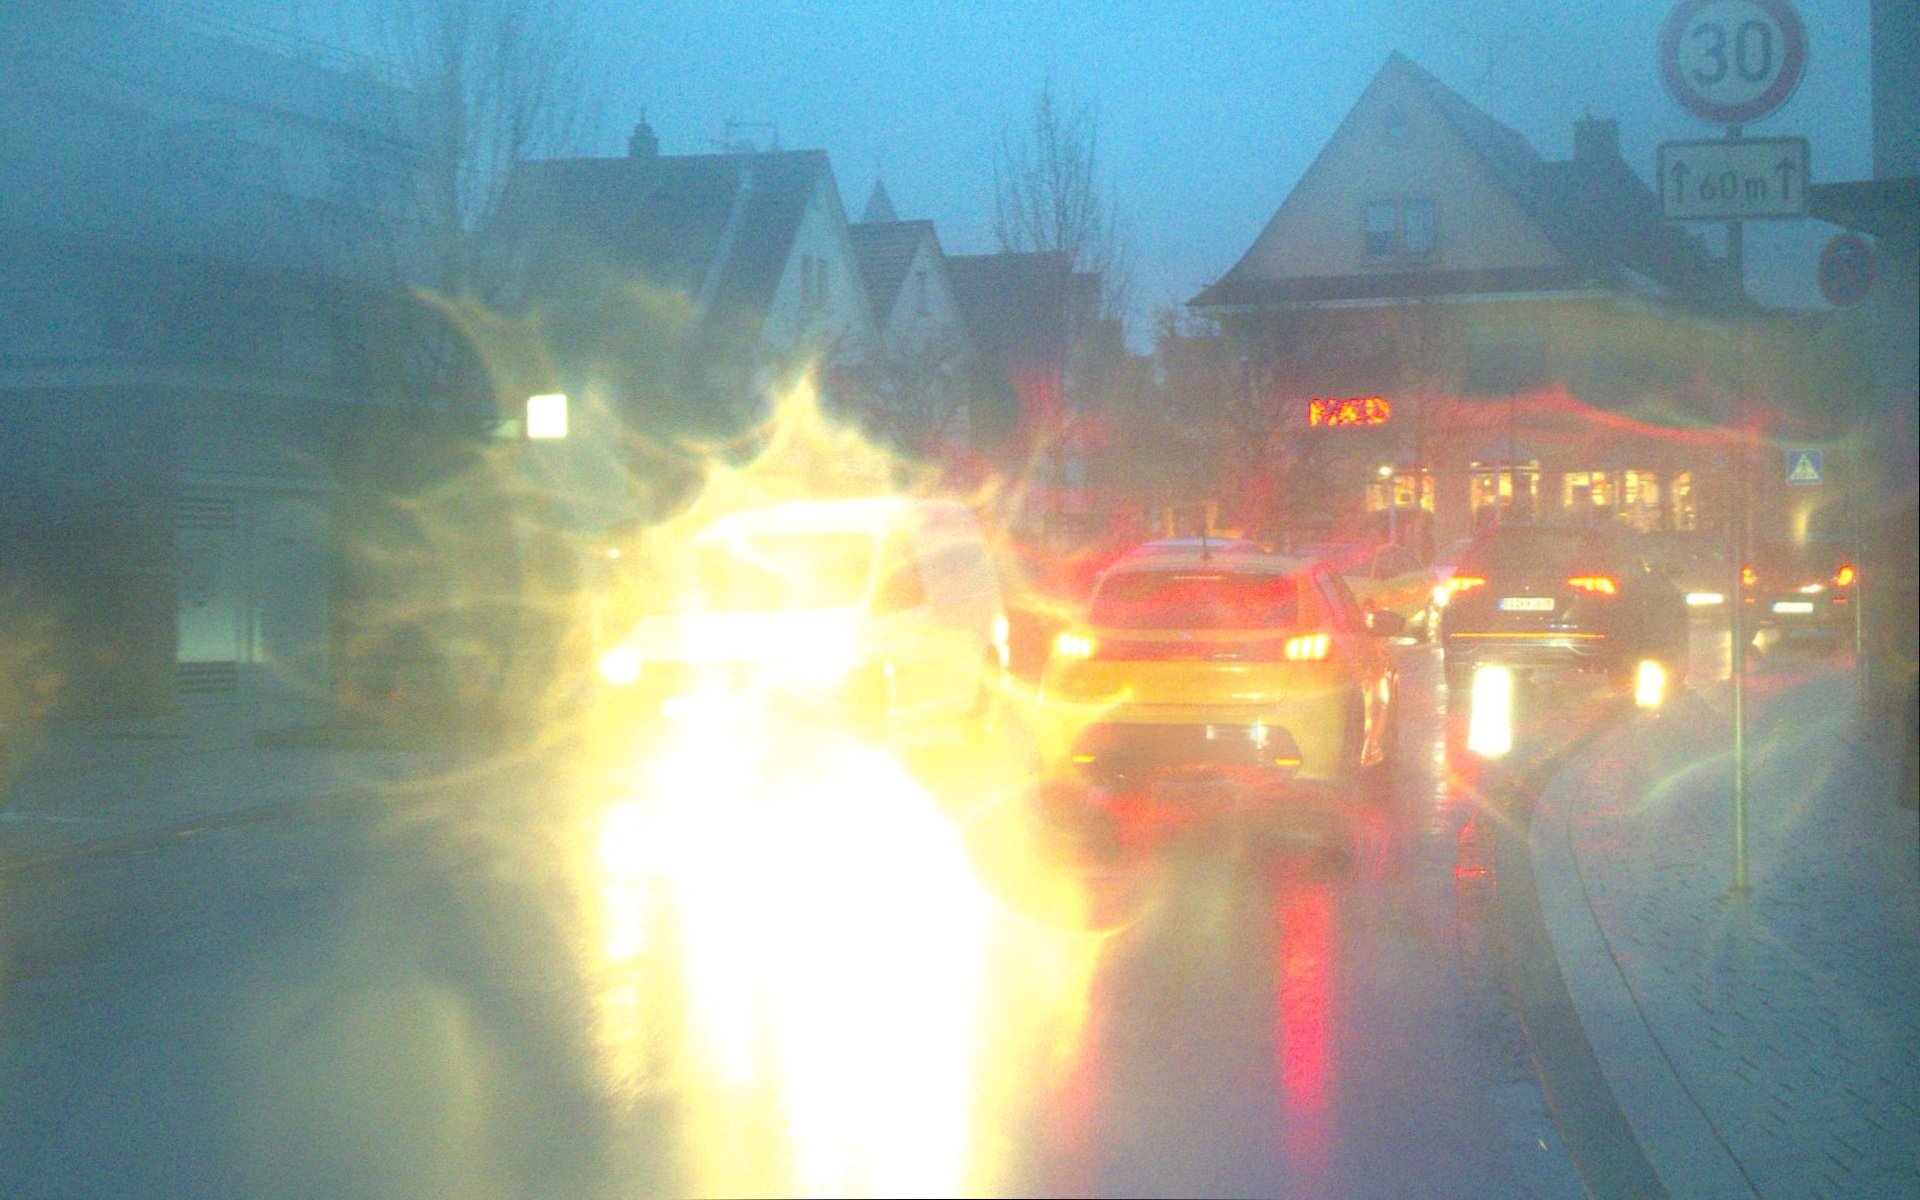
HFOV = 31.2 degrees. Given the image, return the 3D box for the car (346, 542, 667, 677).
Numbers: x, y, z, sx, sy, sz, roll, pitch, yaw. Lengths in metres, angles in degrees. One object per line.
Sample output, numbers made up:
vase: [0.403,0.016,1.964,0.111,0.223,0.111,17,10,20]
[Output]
car: [-5.427,0.131,40.810,1.735,1.472,4.087,-3,1,-41]

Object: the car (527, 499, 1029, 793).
car: [-1.103,0.232,23.706,1.947,1.744,4.848,-3,1,15]

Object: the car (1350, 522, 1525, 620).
car: [7.811,-0.498,55.990,1.672,1.511,3.995,1,2,26]

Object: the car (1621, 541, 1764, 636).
car: [11.836,-0.210,55.424,1.536,1.451,3.698,-1,1,23]

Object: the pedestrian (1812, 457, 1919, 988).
pedestrian: [3.316,0.376,11.396,0.713,1.693,0.804,-2,1,-2]

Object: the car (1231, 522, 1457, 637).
car: [5.445,-0.323,48.271,1.751,1.511,4.336,1,2,27]

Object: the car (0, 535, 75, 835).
car: [-5.900,0.454,16.950,1.834,1.530,3.675,0,1,5]

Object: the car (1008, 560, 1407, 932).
car: [1.543,0.726,19.838,1.994,1.789,4.647,-1,1,7]

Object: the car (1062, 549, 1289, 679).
car: [2.745,0.136,43.055,1.694,1.511,3.769,1,2,23]

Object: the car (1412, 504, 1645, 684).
car: [5.627,-0.091,33.706,1.799,1.656,3.997,0,1,16]

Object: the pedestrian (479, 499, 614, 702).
pedestrian: [-3.843,-0.003,32.002,0.755,1.860,1.059,-1,1,26]

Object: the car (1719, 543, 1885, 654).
car: [11.599,-0.046,47.207,1.651,1.437,3.862,-1,1,22]
